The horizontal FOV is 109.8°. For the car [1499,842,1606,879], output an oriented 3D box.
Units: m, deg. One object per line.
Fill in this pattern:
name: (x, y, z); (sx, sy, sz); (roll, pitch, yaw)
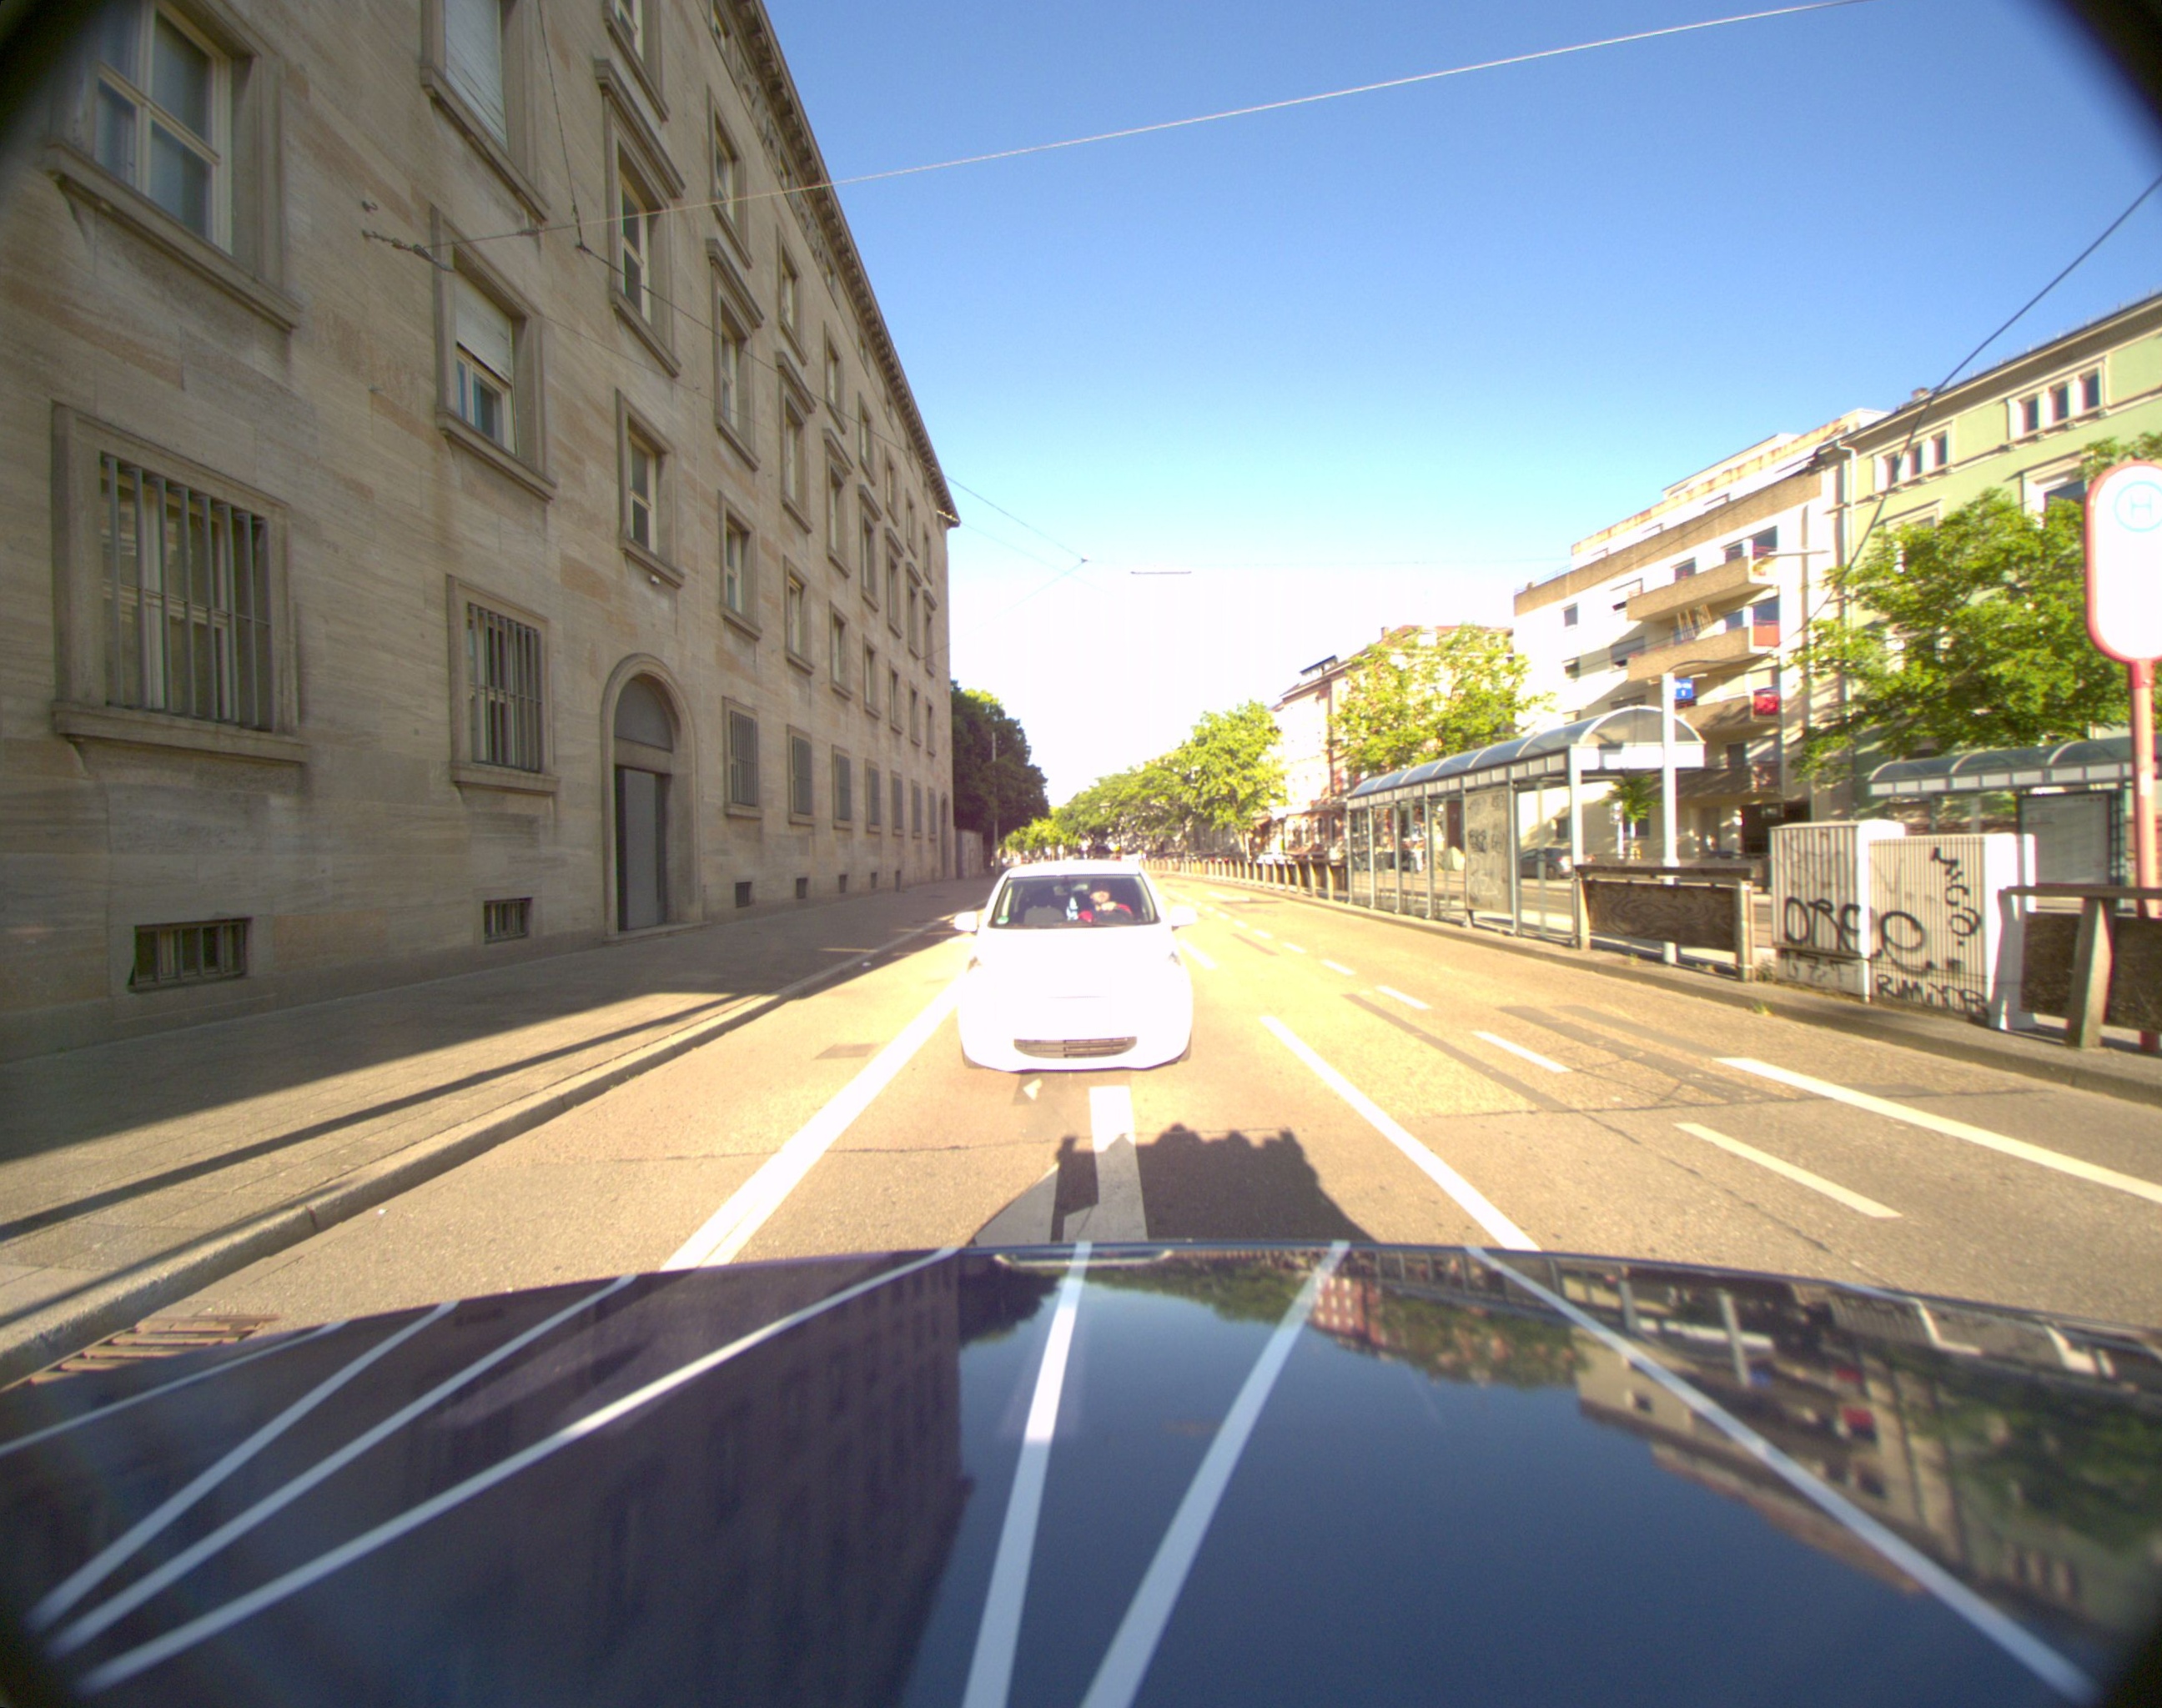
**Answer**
car: (21.033, 0.276, 34.116); (2.000, 1.521, 3.997); (-1, 0, -8)

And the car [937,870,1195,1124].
car: (-0.068, 0.937, 6.592); (1.571, 1.455, 3.687); (-1, 0, 1)

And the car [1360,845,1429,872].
car: (18.378, 0.247, 44.782); (2.000, 1.521, 3.997); (-1, 0, -8)

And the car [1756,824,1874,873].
car: (31.814, -0.234, 32.974); (4.001, 2.002, 1.798); (-1, 1, -13)

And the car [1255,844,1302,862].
car: (16.439, -0.081, 63.236); (3.648, 1.342, 1.578); (-2, 1, -29)
